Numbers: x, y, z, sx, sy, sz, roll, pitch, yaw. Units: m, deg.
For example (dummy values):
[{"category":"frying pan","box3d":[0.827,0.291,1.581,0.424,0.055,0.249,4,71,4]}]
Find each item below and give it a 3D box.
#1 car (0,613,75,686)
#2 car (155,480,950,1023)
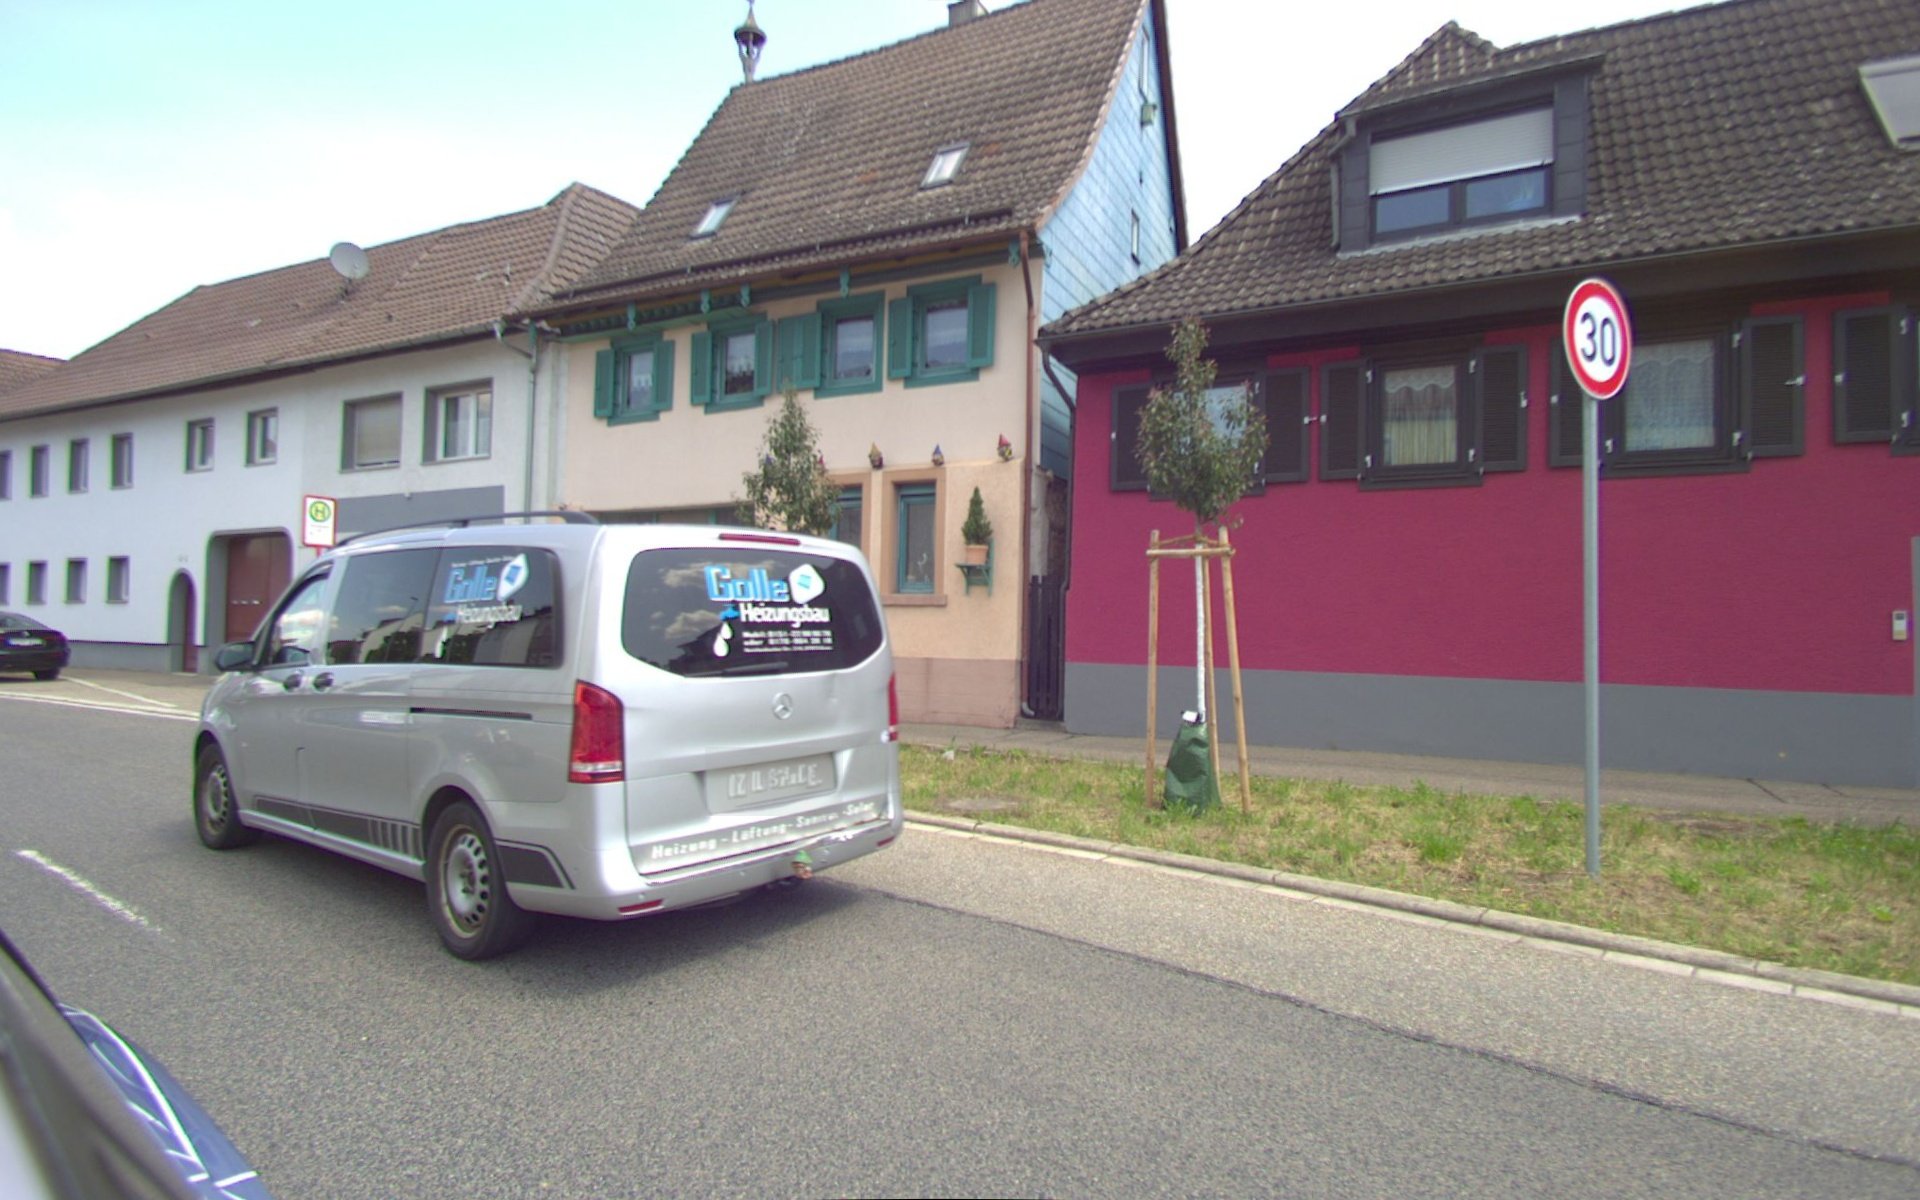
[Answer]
[{"category":"car","box3d":[-20.022,0.961,20.157,4.726,1.359,1.757,-1,-1,24]},{"category":"car","box3d":[-2.592,0.481,5.701,4.930,1.813,1.974,1,0,39]}]
